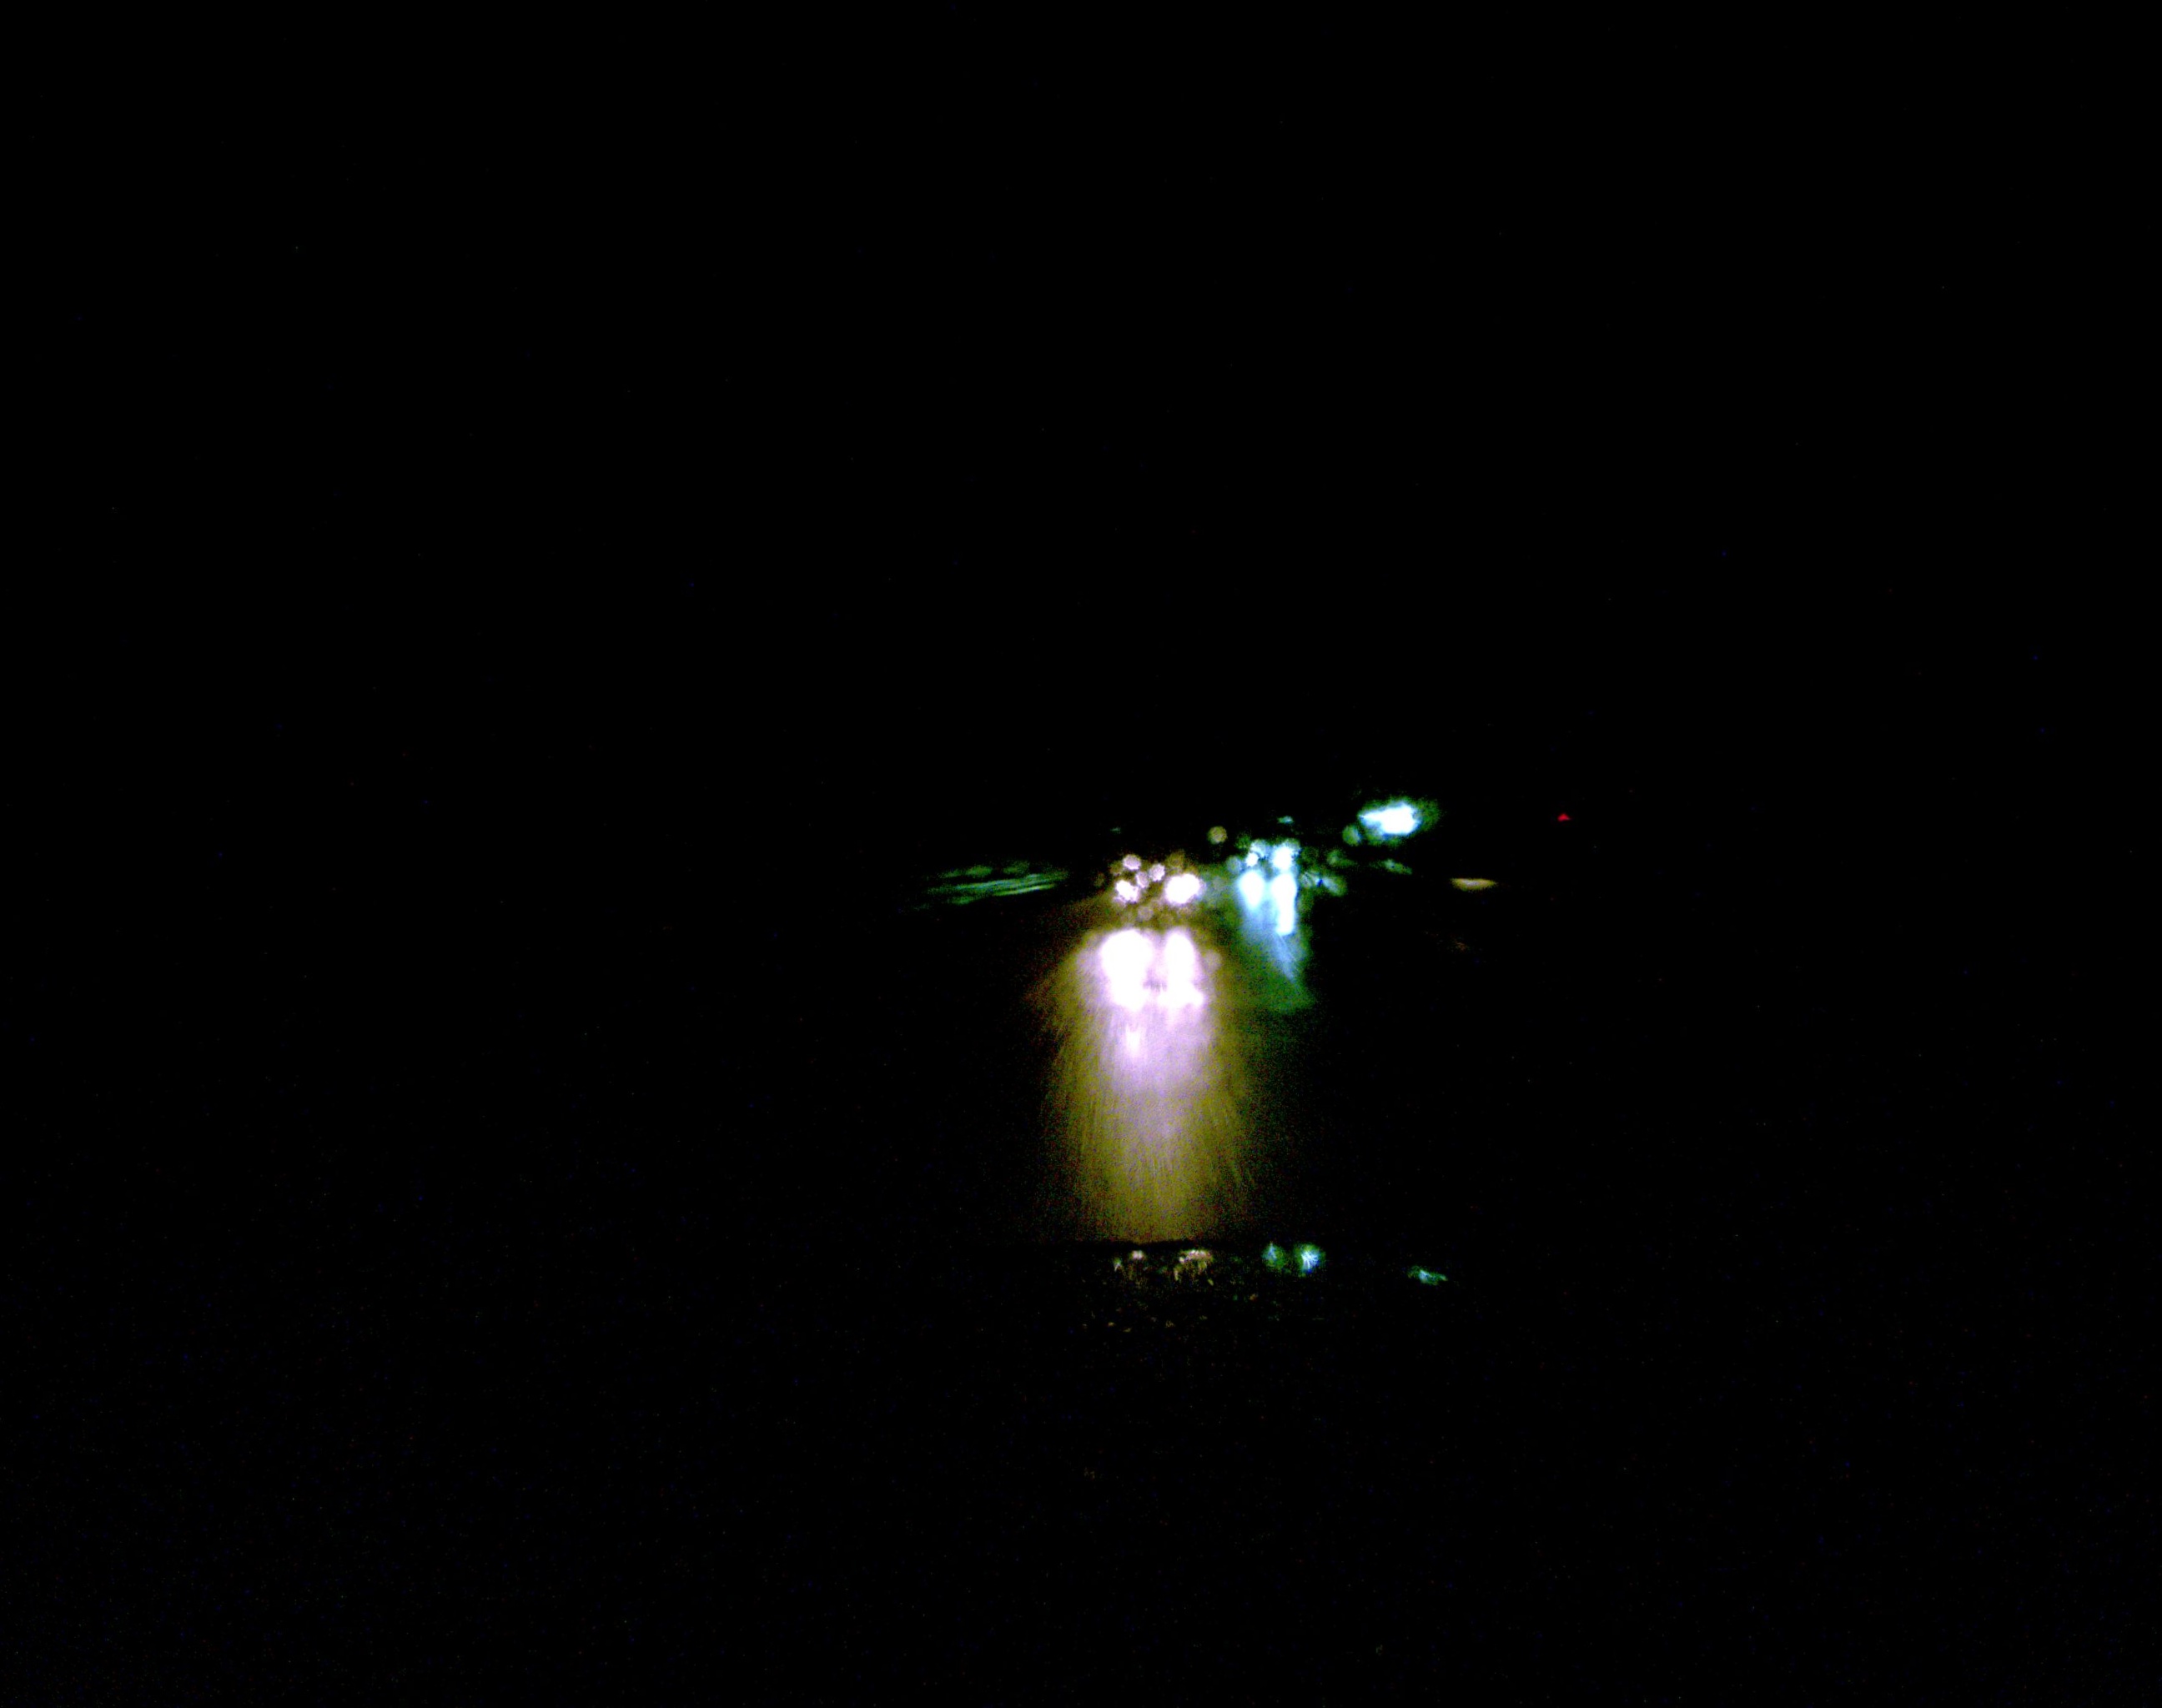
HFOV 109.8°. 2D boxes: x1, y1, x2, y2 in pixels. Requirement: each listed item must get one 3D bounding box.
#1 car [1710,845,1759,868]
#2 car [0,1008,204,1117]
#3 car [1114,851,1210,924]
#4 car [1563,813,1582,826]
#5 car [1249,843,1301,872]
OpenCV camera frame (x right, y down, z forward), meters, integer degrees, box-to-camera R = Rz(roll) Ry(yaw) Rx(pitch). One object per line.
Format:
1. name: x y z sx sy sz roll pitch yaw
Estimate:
1. car: 47.234 0.157 54.984 1.502 1.420 3.434 0 3 20
2. car: -24.419 5.071 18.268 1.738 1.674 4.126 -5 1 44
3. car: 2.004 0.702 17.921 1.685 1.442 3.645 0 2 15
4. car: 65.526 -4.653 101.384 1.741 1.418 4.104 -2 5 27
5. car: 9.798 0.154 38.149 1.757 1.304 4.091 1 2 25
